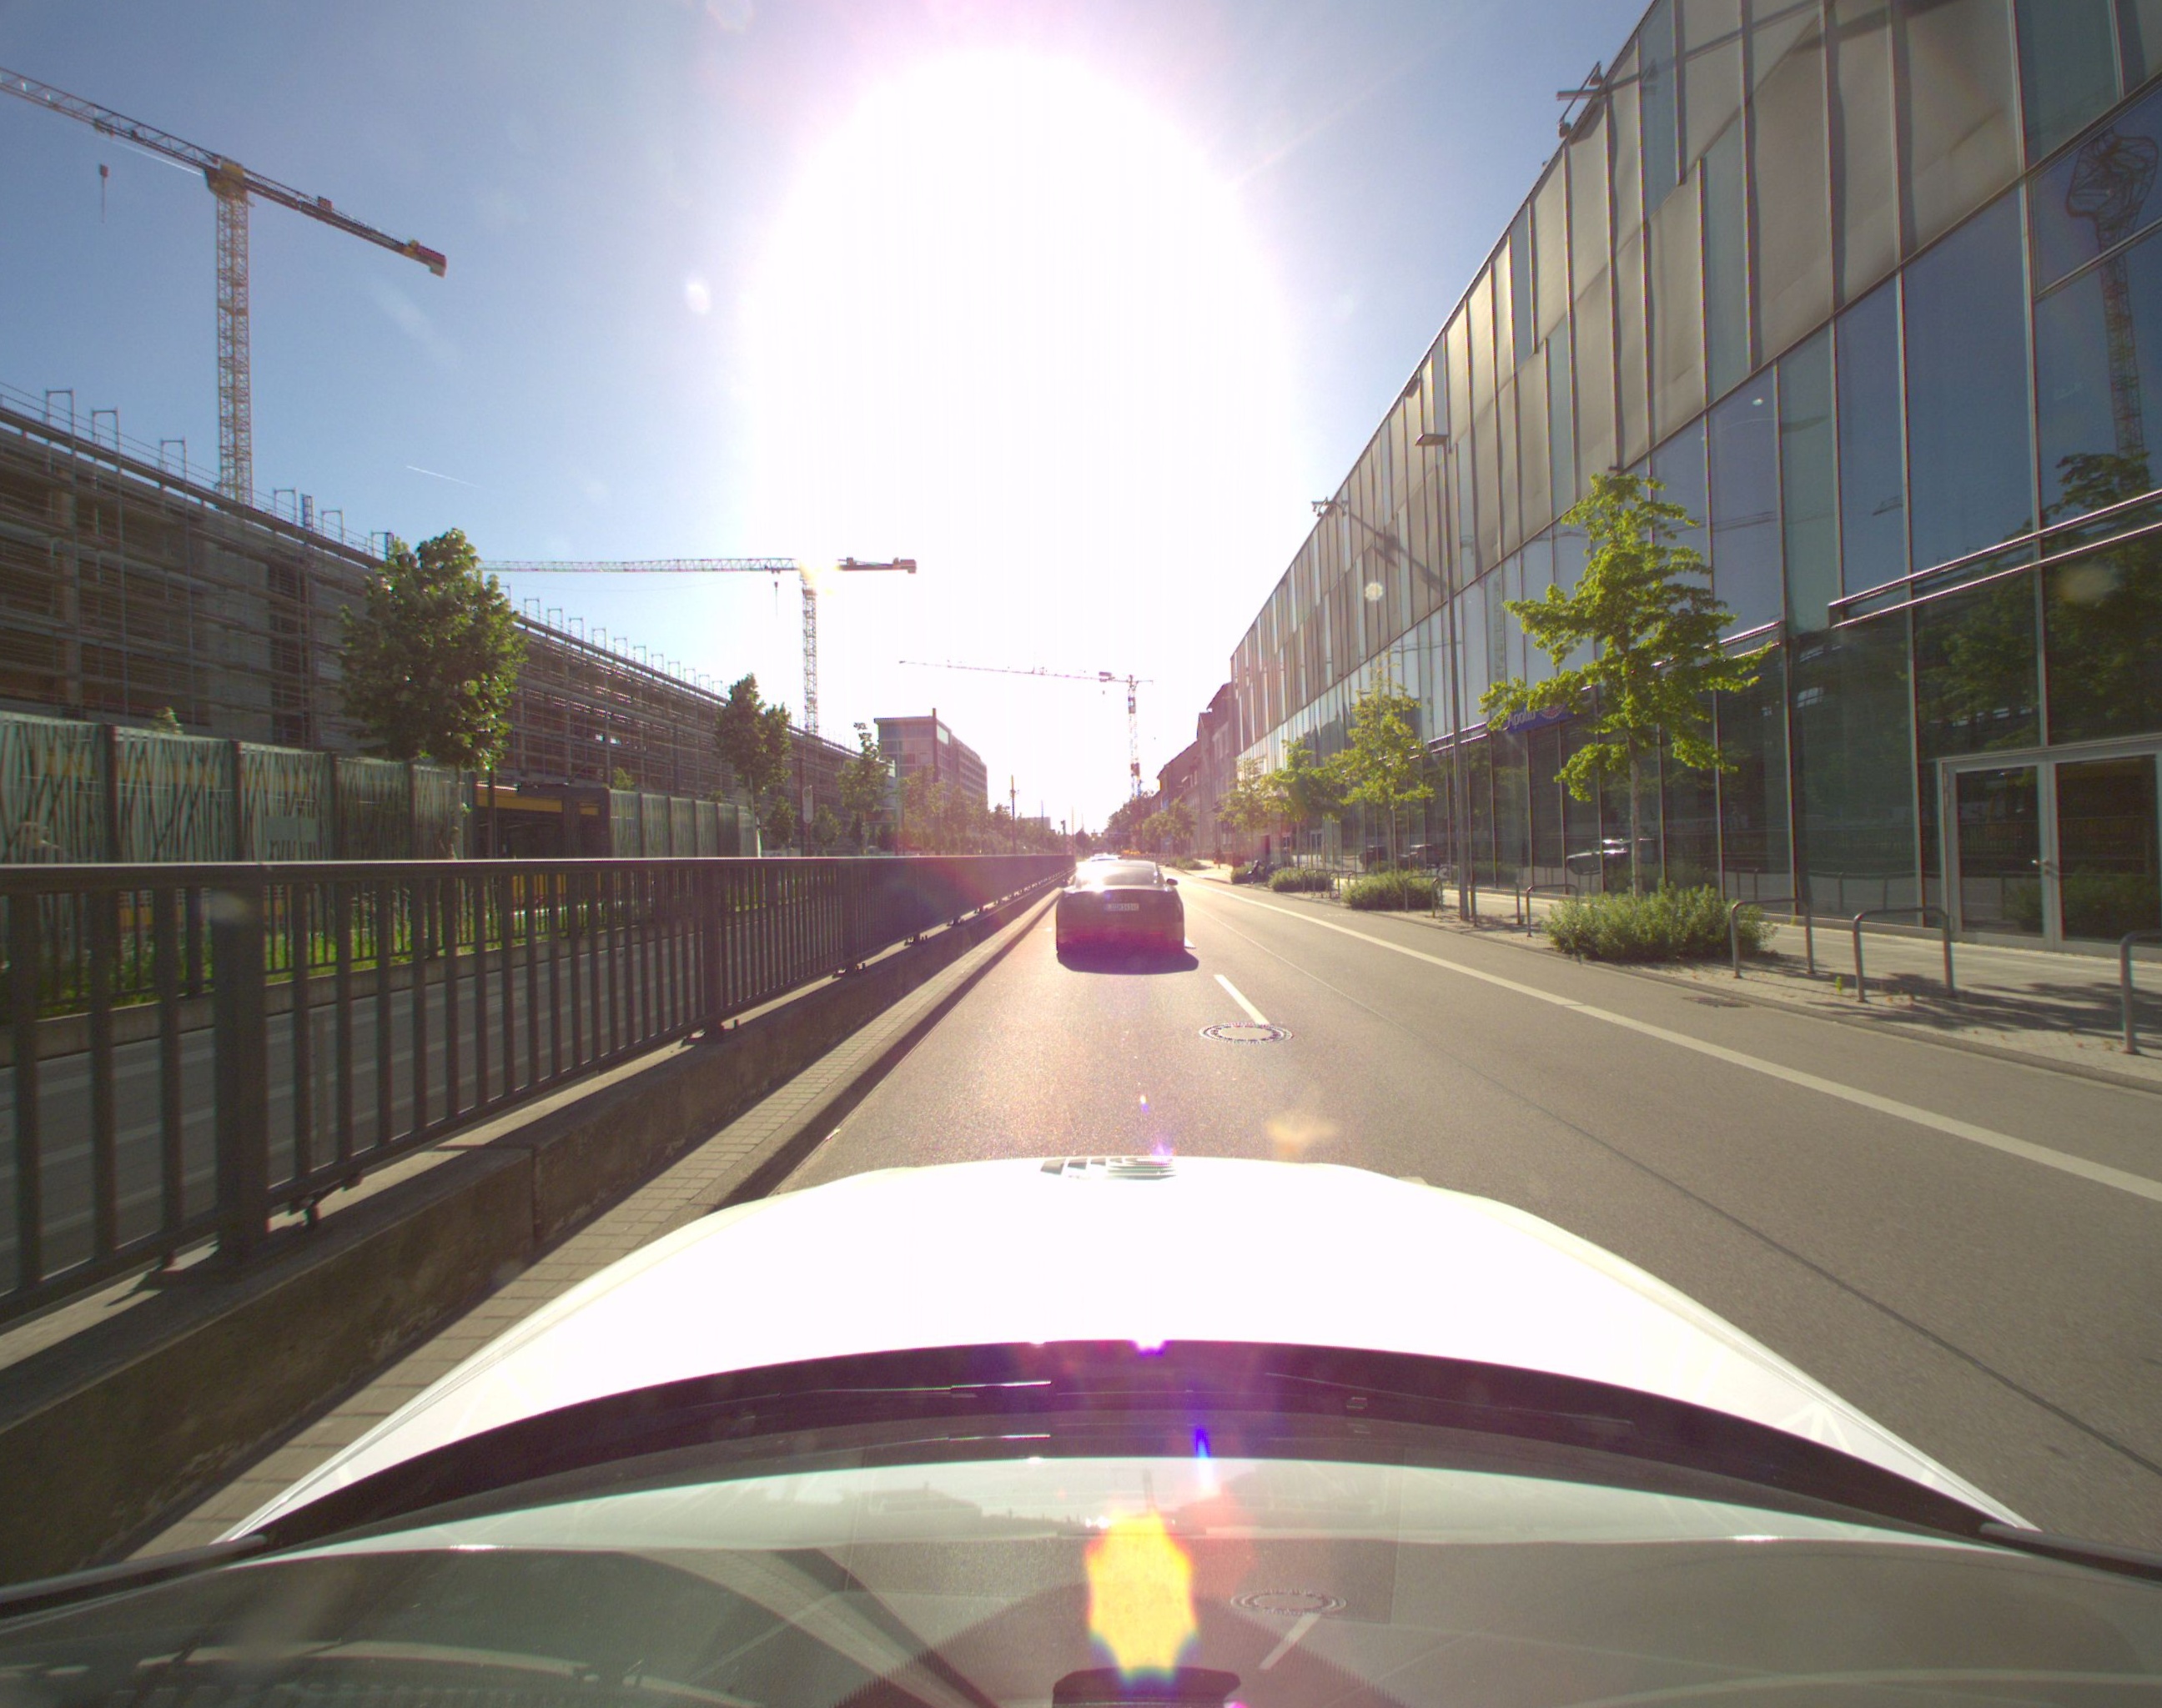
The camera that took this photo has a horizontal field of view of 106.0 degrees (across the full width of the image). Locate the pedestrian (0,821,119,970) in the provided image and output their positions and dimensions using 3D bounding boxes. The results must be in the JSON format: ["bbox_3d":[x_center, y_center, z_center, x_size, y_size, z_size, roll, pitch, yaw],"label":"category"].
[{"bbox_3d":[-11.982,0.464,9.382,0.738,1.628,0.862,-2,0,3],"label":"pedestrian"}]

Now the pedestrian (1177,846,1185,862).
[{"bbox_3d":[12.343,0.018,100.730,0.848,1.863,0.930,-2,0,0],"label":"pedestrian"}]

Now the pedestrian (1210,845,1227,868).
[{"bbox_3d":[11.350,0.219,67.192,1.091,1.863,1.523,-2,0,0],"label":"pedestrian"}]

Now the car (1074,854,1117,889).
[{"bbox_3d":[0.673,0.718,34.992,1.709,1.319,4.003,-1,0,3],"label":"car"}]

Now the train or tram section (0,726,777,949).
[{"bbox_3d":[-14.547,-0.273,23.062,2.859,3.279,22.153,0,0,2],"label":"train or tram section"}]

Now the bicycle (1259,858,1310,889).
[{"bbox_3d":[8.480,0.792,33.971,1.881,1.151,0.669,-3,0,-9],"label":"bicycle"}]

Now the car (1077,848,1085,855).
[{"bbox_3d":[-0.006,-0.490,199.324,1.987,1.684,4.000,0,0,1],"label":"car"}]

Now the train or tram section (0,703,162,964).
[{"bbox_3d":[-15.196,-0.249,4.401,2.859,3.279,15.191,0,0,2],"label":"train or tram section"}]

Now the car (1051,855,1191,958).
[{"bbox_3d":[0.779,0.763,13.882,1.989,1.434,4.419,-1,0,5],"label":"car"}]

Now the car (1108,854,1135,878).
[{"bbox_3d":[2.806,0.812,56.423,1.777,1.546,4.042,-1,0,3],"label":"car"}]

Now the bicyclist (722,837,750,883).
[{"bbox_3d":[-11.506,0.187,27.171,0.535,1.491,0.853,-2,0,2],"label":"bicyclist"}]

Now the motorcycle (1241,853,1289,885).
[{"bbox_3d":[8.712,0.721,38.610,2.054,1.353,0.656,-5,-1,24],"label":"motorcycle"}]

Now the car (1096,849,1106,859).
[{"bbox_3d":[3.979,0.006,162.943,1.806,1.809,4.042,-1,0,3],"label":"car"}]
